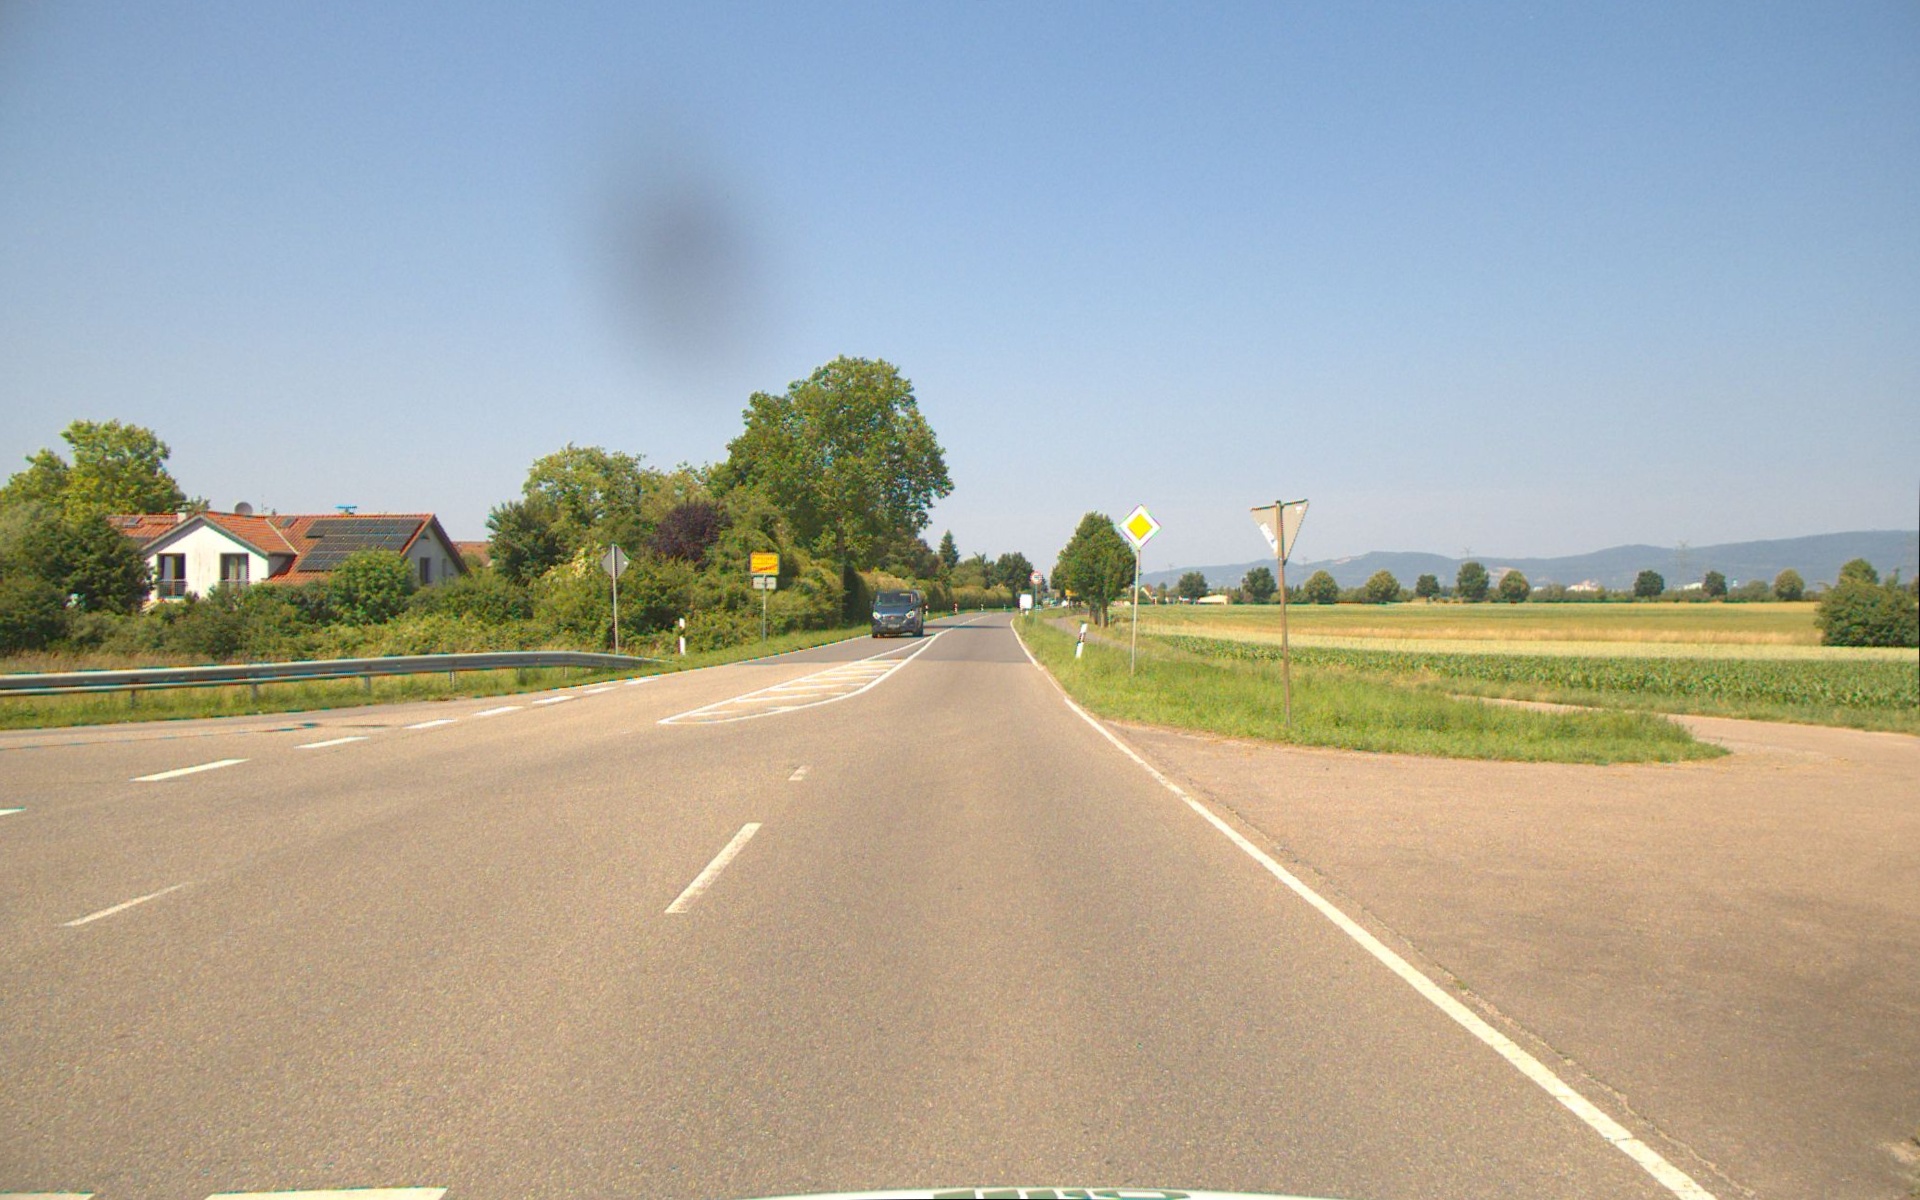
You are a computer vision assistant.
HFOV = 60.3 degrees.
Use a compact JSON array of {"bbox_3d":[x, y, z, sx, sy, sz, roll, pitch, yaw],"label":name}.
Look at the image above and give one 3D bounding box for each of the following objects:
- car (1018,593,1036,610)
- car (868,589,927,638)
[{"bbox_3d":[10.339,0.225,255.127,1.951,2.697,4.003,-1,0,17],"label":"car"},{"bbox_3d":[-2.637,0.554,70.966,2.100,1.985,5.249,-1,0,2],"label":"car"}]
